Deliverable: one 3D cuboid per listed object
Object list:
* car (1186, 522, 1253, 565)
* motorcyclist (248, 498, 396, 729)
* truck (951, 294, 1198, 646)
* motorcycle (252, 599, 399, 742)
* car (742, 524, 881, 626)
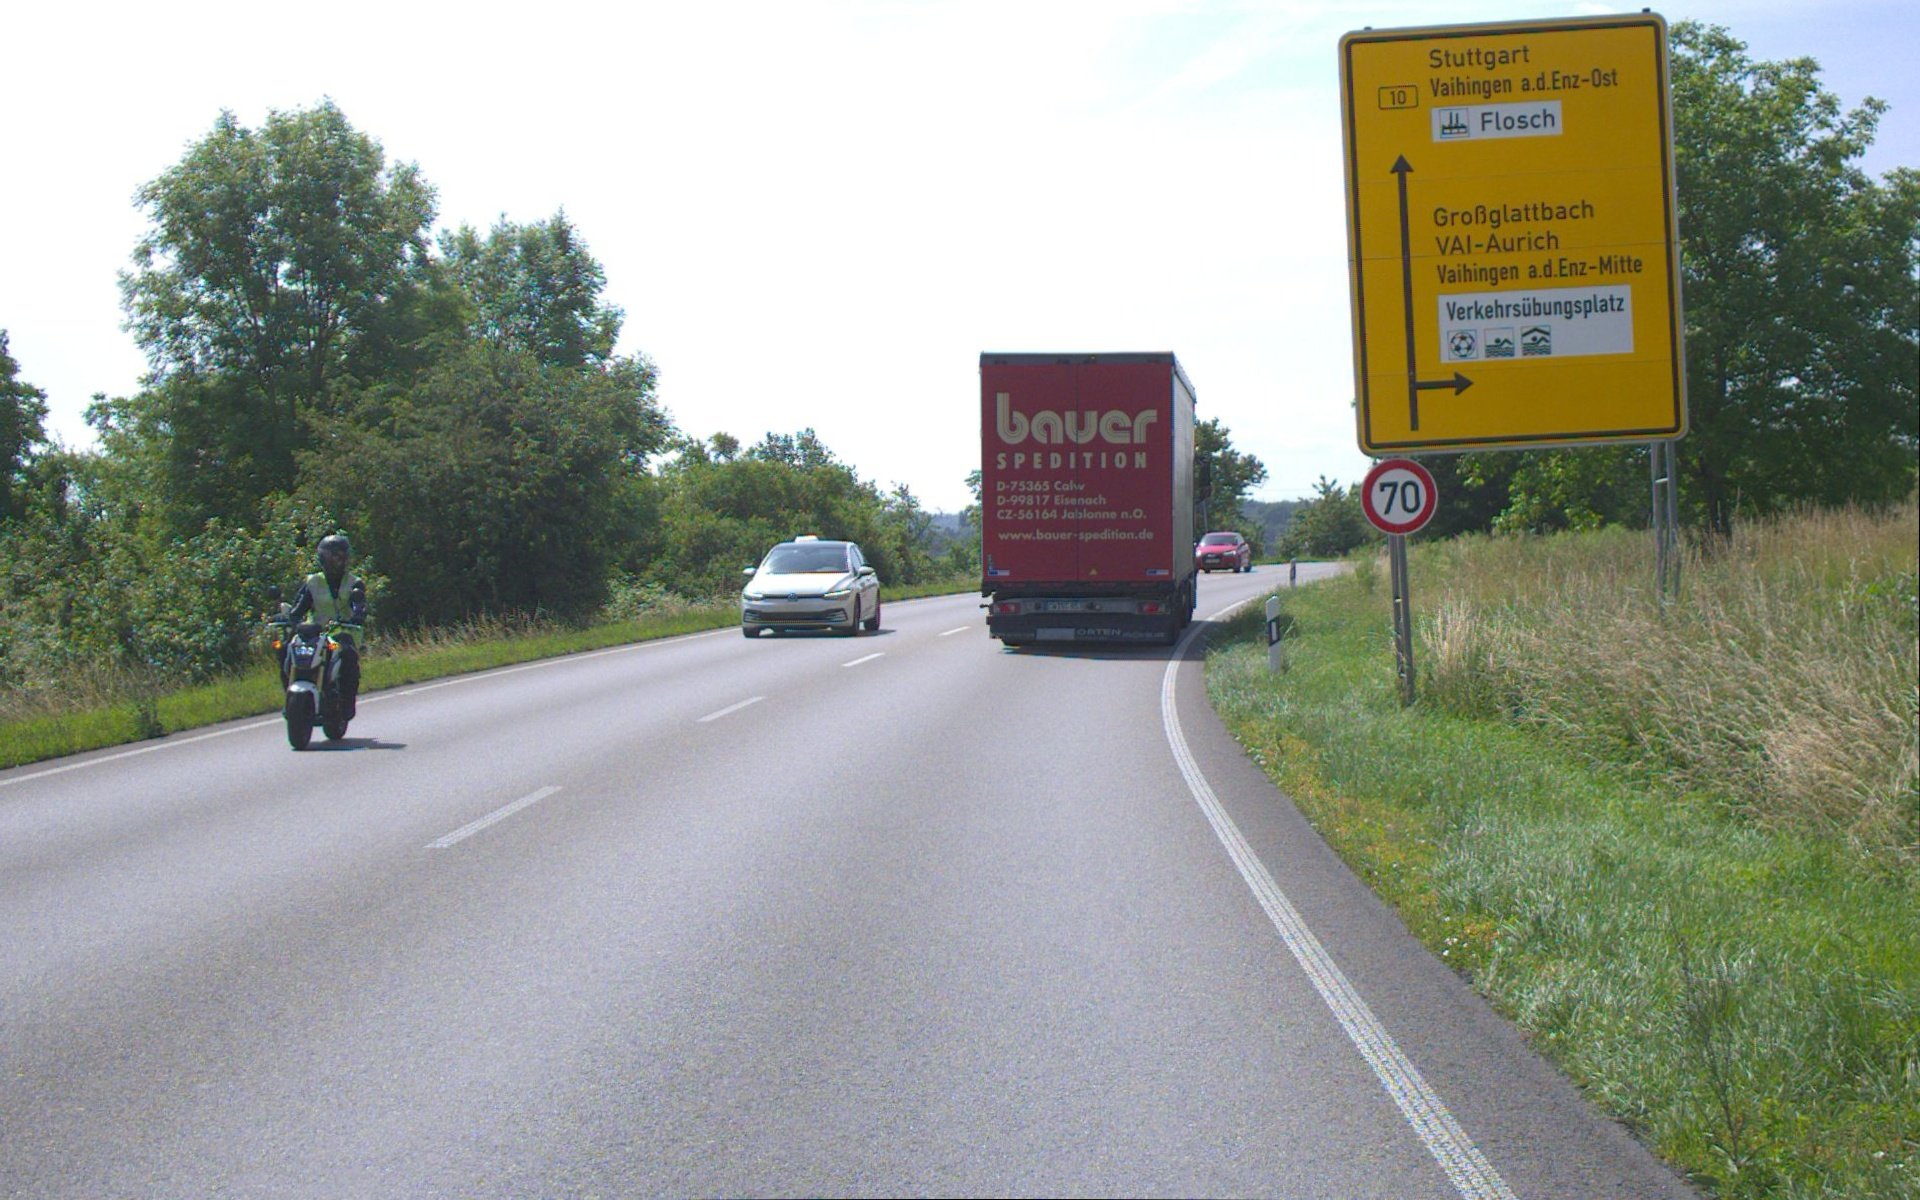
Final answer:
[{"bbox_3d":[9.225,-2.021,122.029,1.821,1.393,4.181,-1,2,11],"label":"car"},{"bbox_3d":[-4.835,0.095,26.129,0.918,1.712,0.963,-1,1,0],"label":"motorcyclist"},{"bbox_3d":[1.623,-1.731,50.383,3.112,4.490,12.167,1,1,1],"label":"truck"},{"bbox_3d":[-4.817,0.514,26.224,0.757,0.991,2.280,0,1,-2],"label":"motorcycle"},{"bbox_3d":[-2.289,-0.421,53.853,1.790,1.517,4.160,-1,1,3],"label":"car"}]
